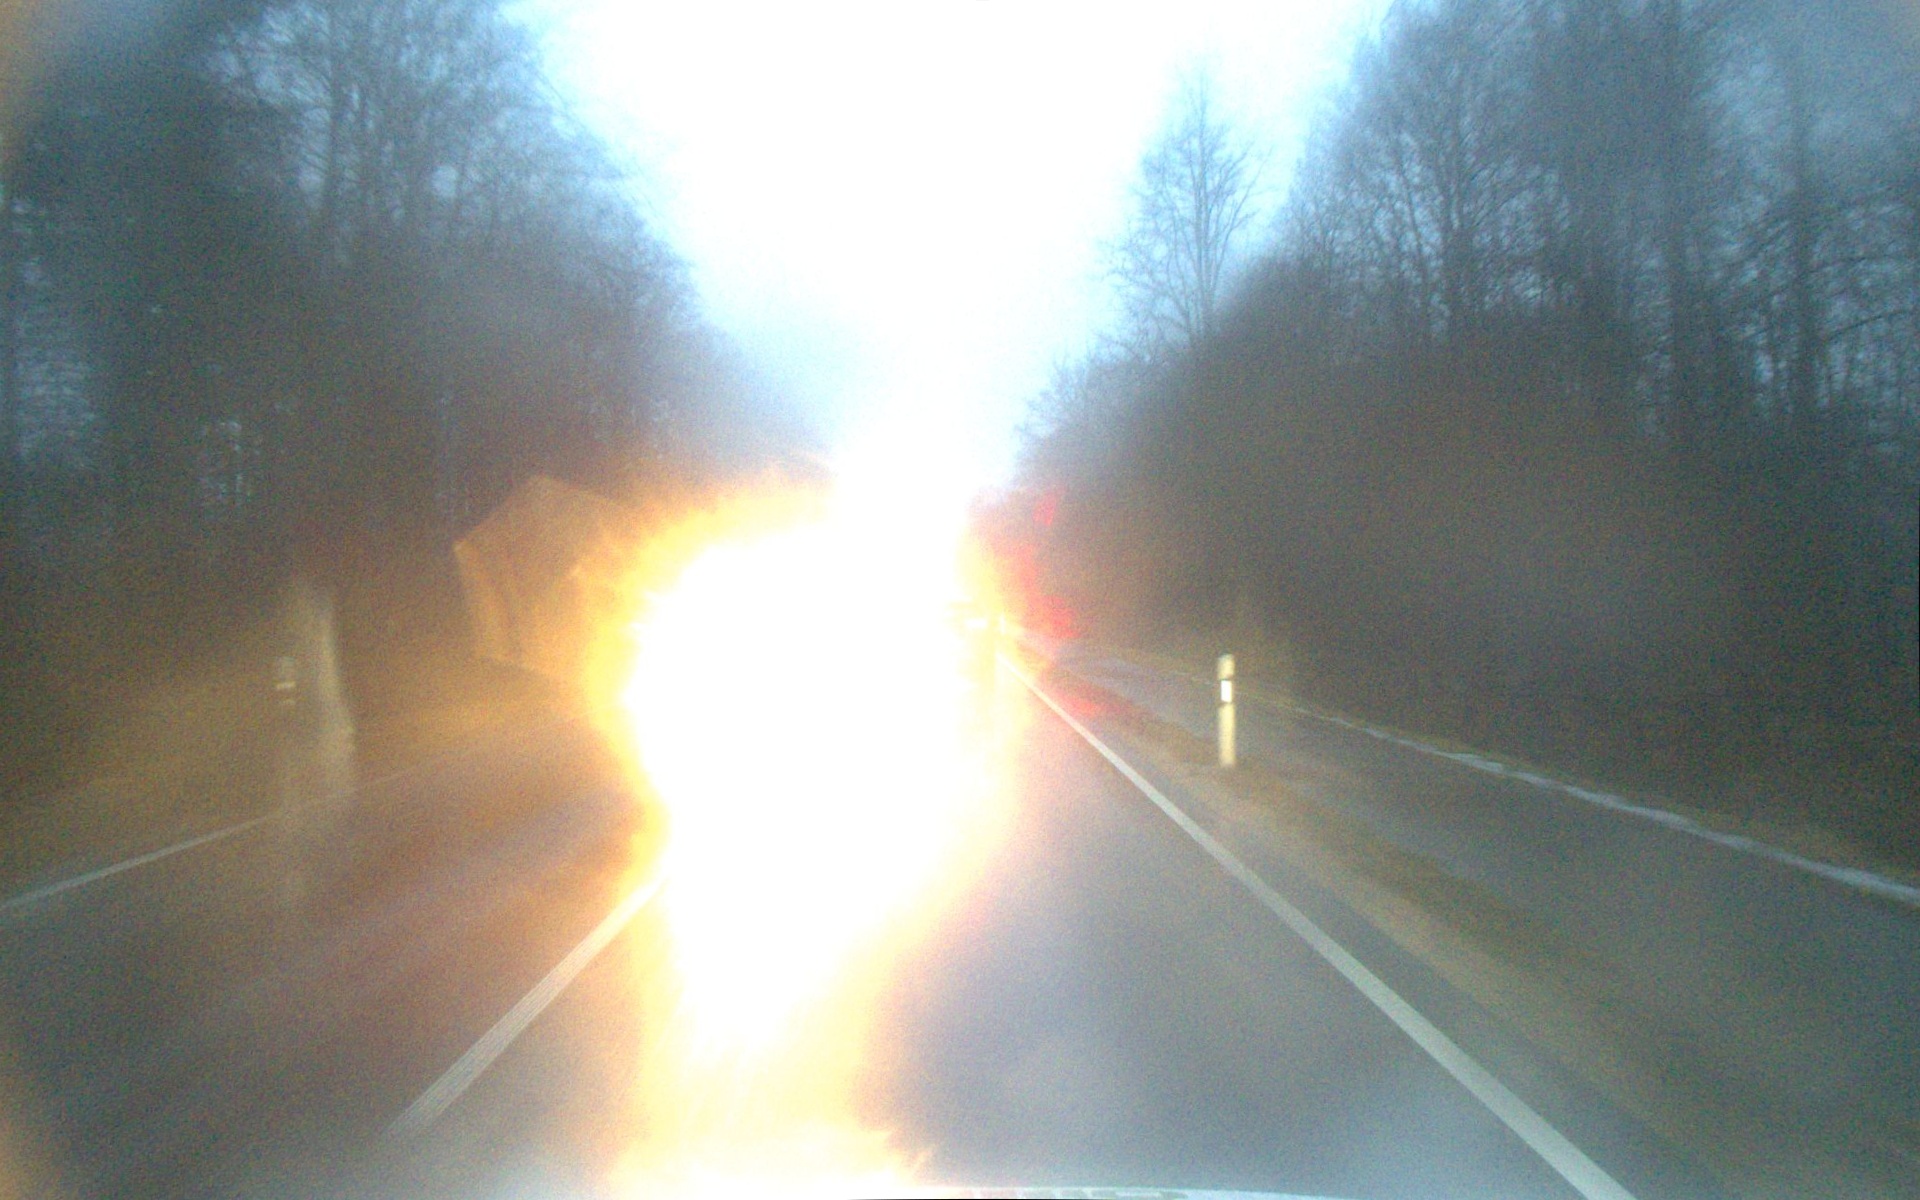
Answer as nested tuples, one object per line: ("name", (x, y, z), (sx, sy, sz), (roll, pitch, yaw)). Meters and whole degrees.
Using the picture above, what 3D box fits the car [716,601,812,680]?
("car", (-3.822, 0.753, 32.693), (1.482, 1.438, 3.660), (-1, 0, -1))

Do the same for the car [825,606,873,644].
("car", (-4.263, 0.969, 64.199), (1.669, 1.387, 4.374), (-1, -1, -2))
